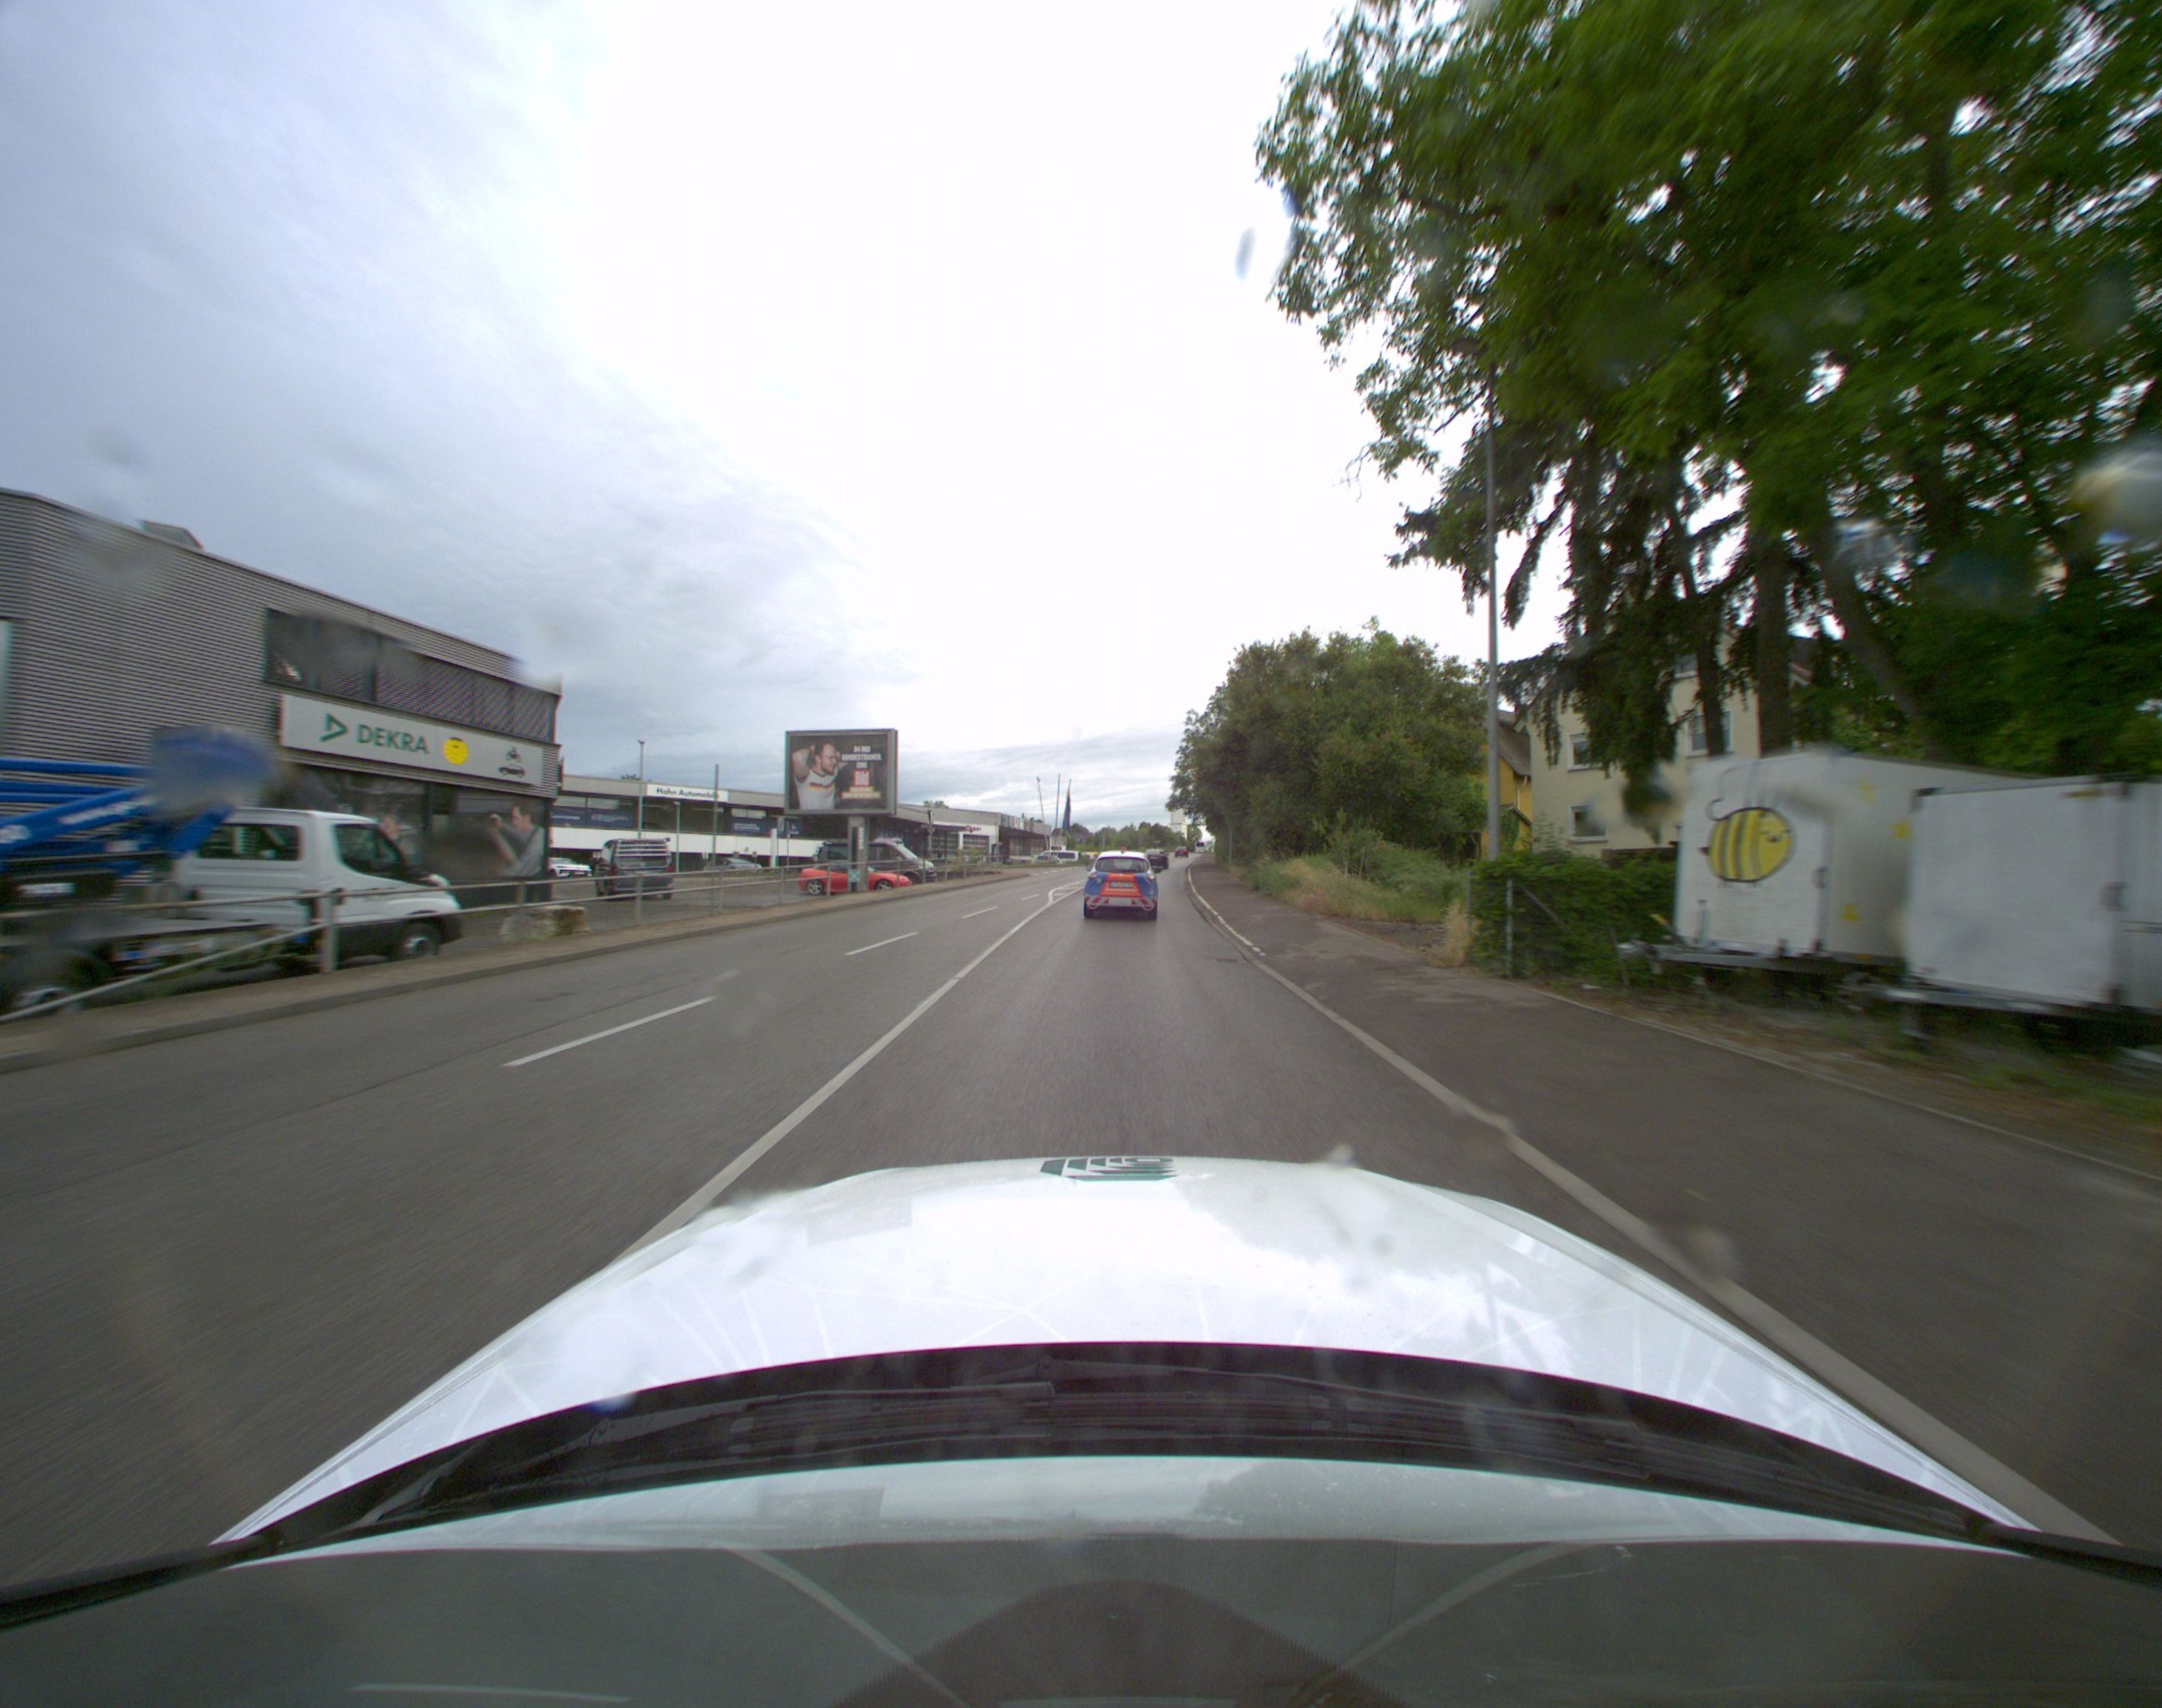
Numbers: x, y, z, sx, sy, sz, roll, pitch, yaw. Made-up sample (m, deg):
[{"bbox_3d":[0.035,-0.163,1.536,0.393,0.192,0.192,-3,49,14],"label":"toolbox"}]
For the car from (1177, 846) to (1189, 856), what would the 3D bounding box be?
[{"bbox_3d":[14.183,-0.380,113.385,1.606,1.407,3.504,-1,0,6],"label":"car"}]

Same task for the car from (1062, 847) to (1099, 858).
[{"bbox_3d":[-0.023,-0.175,91.292,4.043,1.291,1.807,0,1,5],"label":"car"}]

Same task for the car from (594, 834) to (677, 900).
[{"bbox_3d":[-14.932,0.403,27.156,2.008,1.987,4.826,1,0,-34],"label":"car"}]

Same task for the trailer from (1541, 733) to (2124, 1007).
[{"bbox_3d":[7.475,0.179,8.368,4.530,2.400,1.945,1,0,-7],"label":"trailer"}]

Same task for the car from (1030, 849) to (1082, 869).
[{"bbox_3d":[-2.212,0.436,72.764,4.388,1.797,1.938,0,1,7],"label":"car"}]

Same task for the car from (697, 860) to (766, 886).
[{"bbox_3d":[-20.898,1.093,48.677,4.053,1.428,1.902,0,1,34],"label":"car"}]

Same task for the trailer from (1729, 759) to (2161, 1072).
[{"bbox_3d":[7.578,0.431,6.202,3.939,2.022,1.687,1,0,0],"label":"trailer"}]

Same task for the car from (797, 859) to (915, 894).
[{"bbox_3d":[-8.565,0.845,31.324,4.084,1.267,1.767,-1,0,-5],"label":"car"}]

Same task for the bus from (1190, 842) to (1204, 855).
[{"bbox_3d":[31.686,-1.454,222.044,2.897,3.169,11.479,-1,0,4],"label":"bus"}]

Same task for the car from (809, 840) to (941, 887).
[{"bbox_3d":[-8.596,0.392,34.275,5.051,1.870,1.822,-1,0,0],"label":"car"}]

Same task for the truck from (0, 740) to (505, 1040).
[{"bbox_3d":[-10.319,0.290,8.736,1.984,2.632,7.906,-1,1,6],"label":"truck"}]

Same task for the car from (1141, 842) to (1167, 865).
[{"bbox_3d":[5.206,-0.036,58.242,1.794,1.590,3.567,-1,0,5],"label":"car"}]

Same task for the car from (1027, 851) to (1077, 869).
[{"bbox_3d":[-2.467,0.485,70.294,3.987,1.478,1.828,0,1,7],"label":"car"}]

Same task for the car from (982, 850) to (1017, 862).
[{"bbox_3d":[-9.716,0.202,96.811,3.971,1.416,1.965,0,1,42],"label":"car"}]

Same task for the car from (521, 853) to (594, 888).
[{"bbox_3d":[-28.096,0.838,43.704,3.939,1.788,1.832,0,0,34],"label":"car"}]

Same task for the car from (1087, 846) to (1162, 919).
[{"bbox_3d":[1.135,0.654,19.954,1.649,1.593,3.573,1,-1,5],"label":"car"}]

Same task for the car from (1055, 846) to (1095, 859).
[{"bbox_3d":[-0.633,-0.178,88.709,4.205,1.368,1.878,0,1,5],"label":"car"}]

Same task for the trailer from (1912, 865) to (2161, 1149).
[{"bbox_3d":[7.243,0.733,4.177,4.382,1.288,1.572,0,1,0],"label":"trailer"}]
